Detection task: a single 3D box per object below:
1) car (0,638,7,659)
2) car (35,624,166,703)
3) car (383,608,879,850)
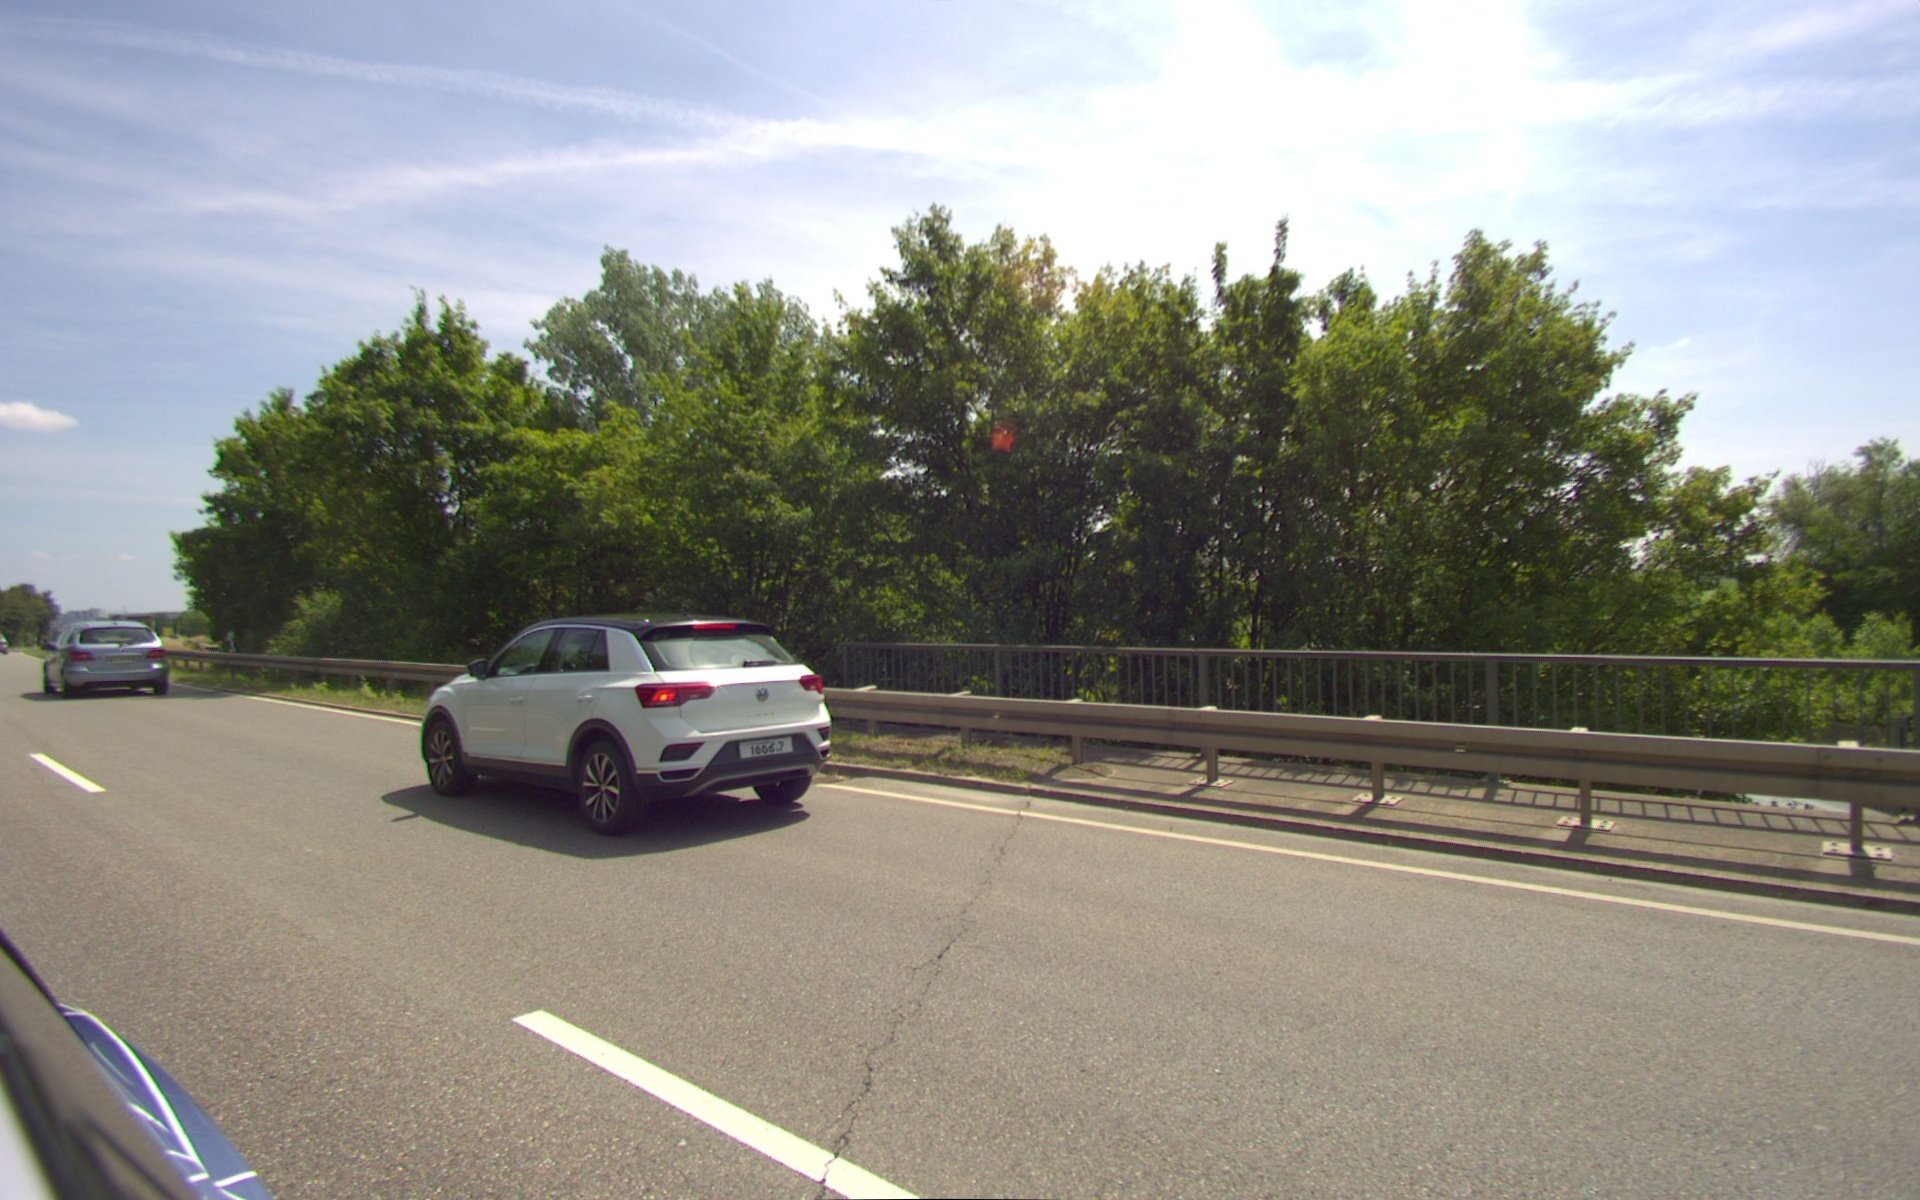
[{"bbox_3d":[-68.094,3.397,70.879,1.722,1.478,5.134,1,-2,-41],"label":"car"},{"bbox_3d":[-19.058,1.338,22.380,4.337,1.563,1.642,-2,-2,42],"label":"car"},{"bbox_3d":[-2.957,0.875,8.551,4.539,1.523,1.861,-2,-2,40],"label":"car"}]
